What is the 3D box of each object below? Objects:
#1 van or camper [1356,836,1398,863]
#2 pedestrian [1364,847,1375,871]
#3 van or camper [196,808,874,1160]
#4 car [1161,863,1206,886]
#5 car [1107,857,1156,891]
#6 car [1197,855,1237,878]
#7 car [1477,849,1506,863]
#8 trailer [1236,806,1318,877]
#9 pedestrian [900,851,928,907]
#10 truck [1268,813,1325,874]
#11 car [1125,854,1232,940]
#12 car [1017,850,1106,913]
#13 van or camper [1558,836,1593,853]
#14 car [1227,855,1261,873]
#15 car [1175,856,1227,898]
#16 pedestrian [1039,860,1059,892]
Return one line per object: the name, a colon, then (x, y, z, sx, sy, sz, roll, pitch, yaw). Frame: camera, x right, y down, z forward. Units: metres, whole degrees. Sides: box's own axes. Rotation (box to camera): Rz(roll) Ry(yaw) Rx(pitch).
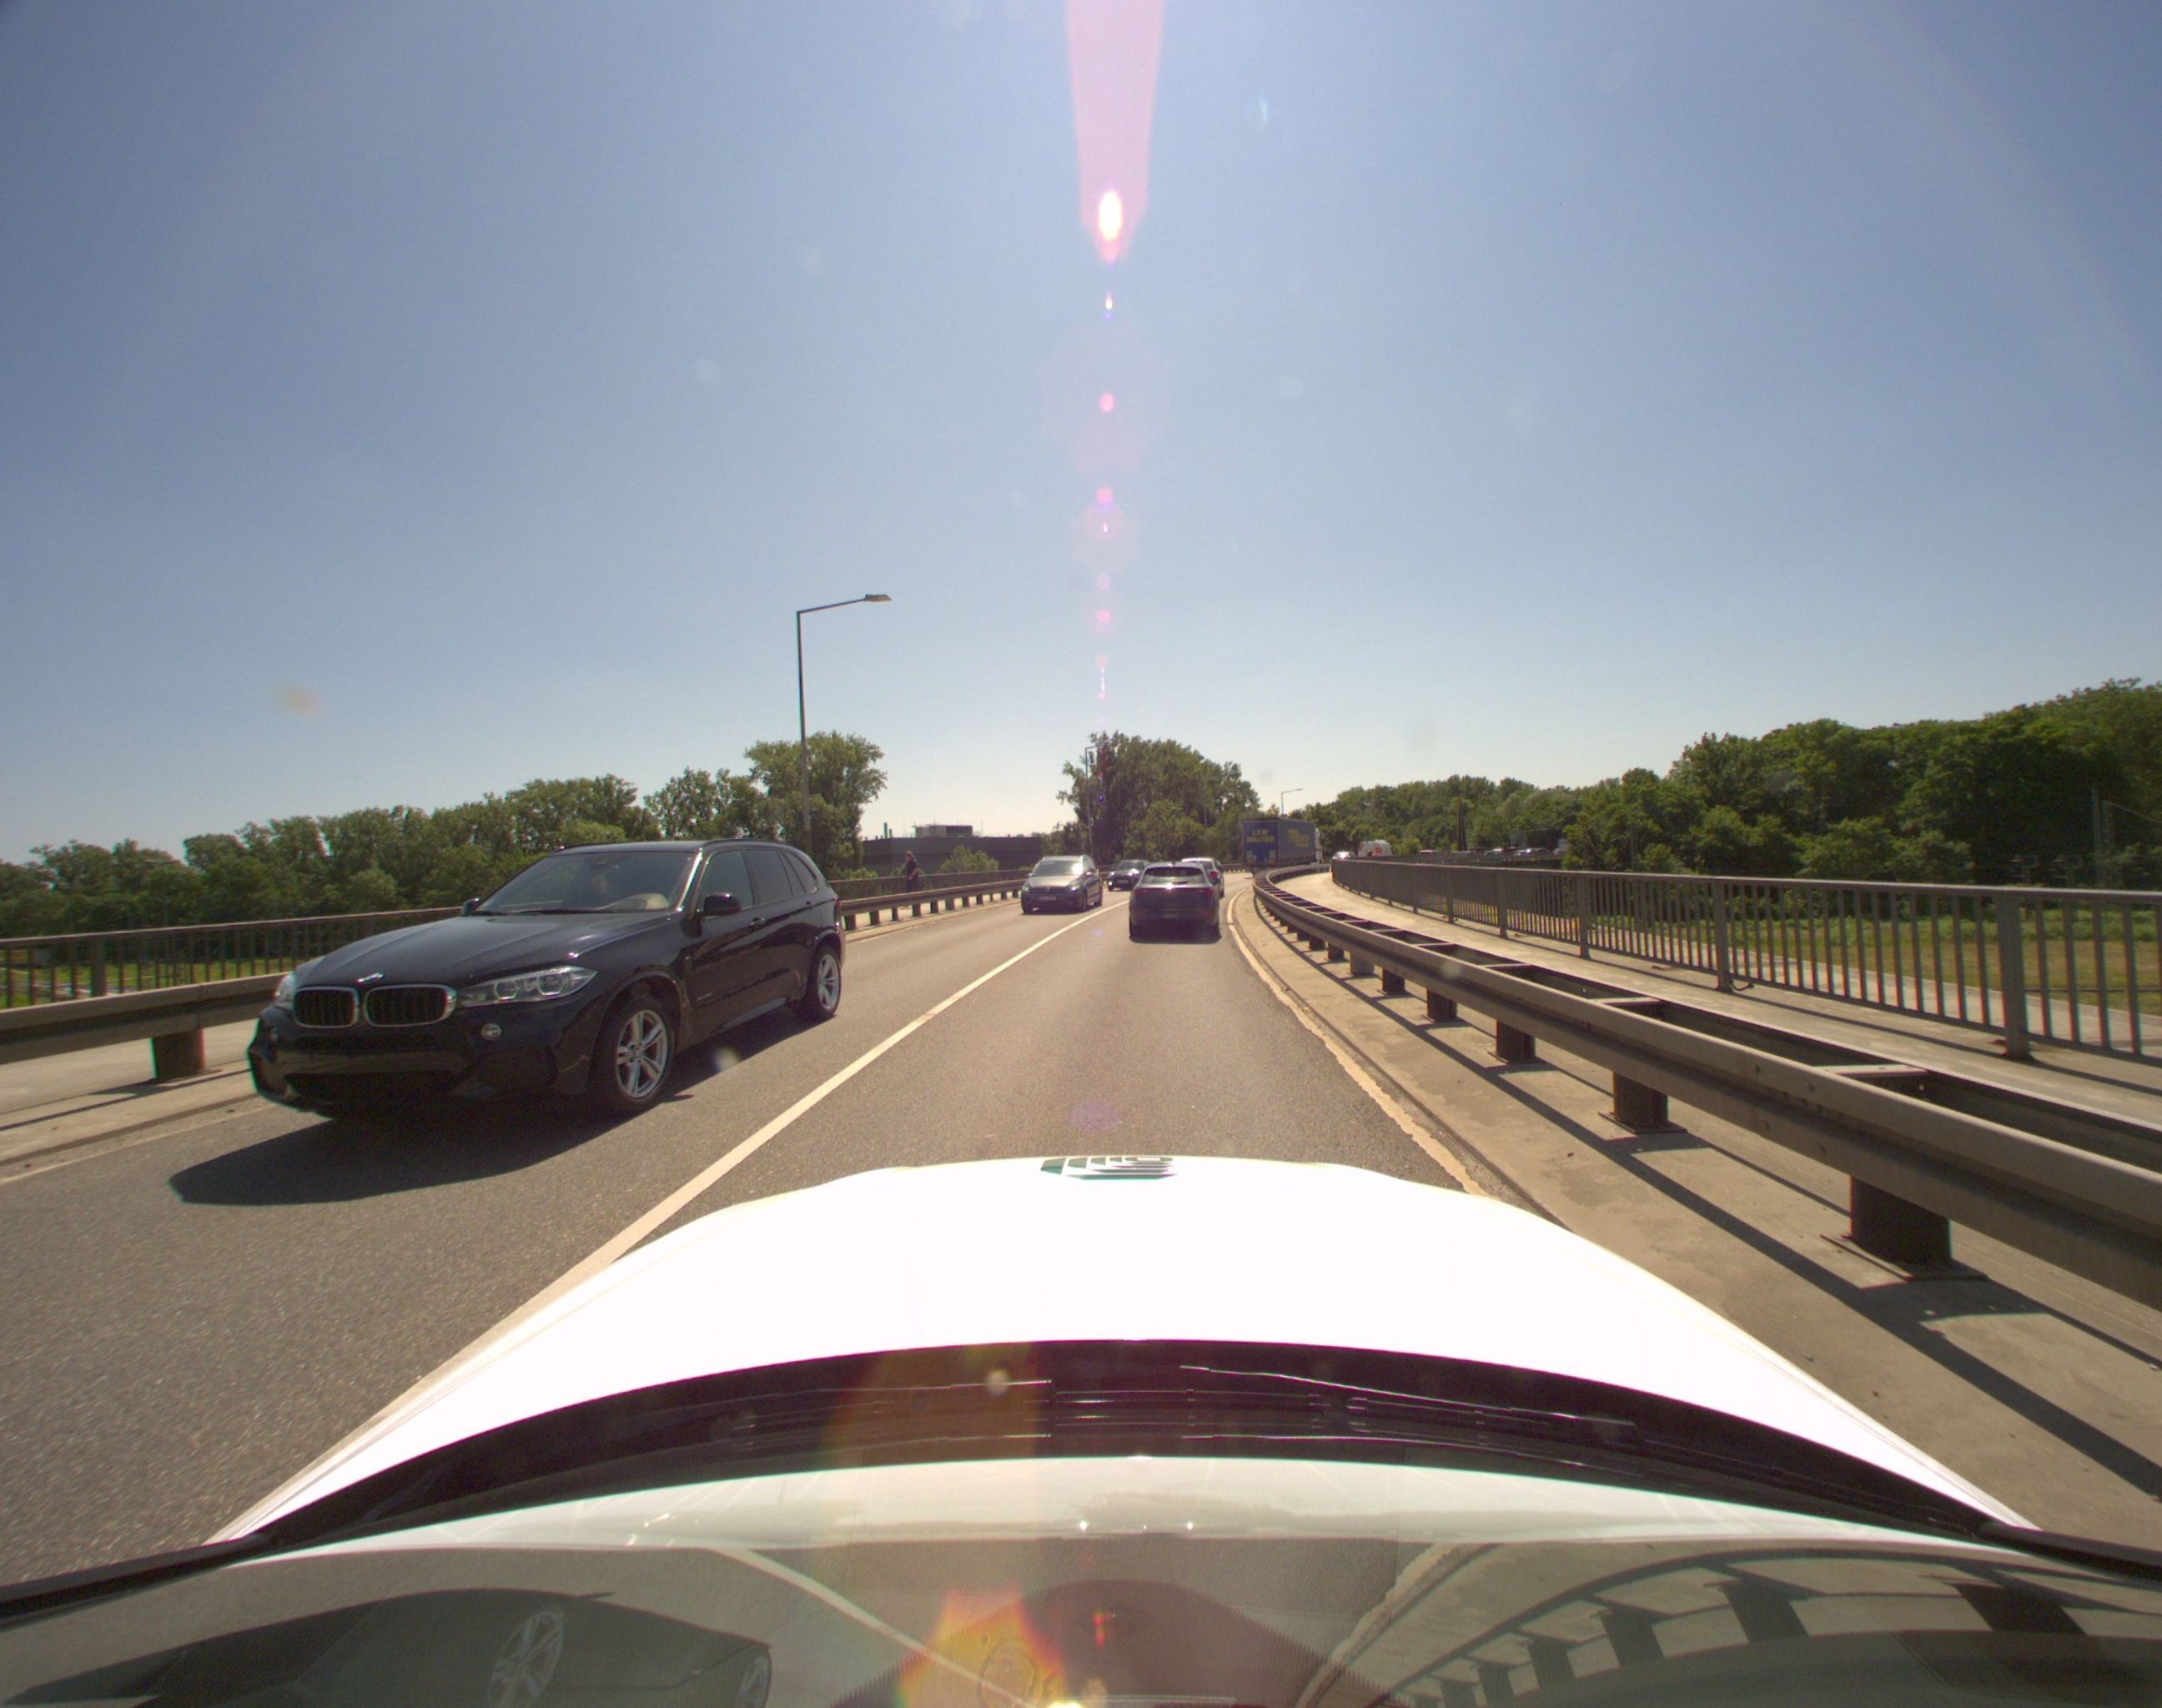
van or camper: (31.075, -0.535, 85.463, 2.182, 2.711, 5.963, -2, 0, 40)
pedestrian: (23.753, 0.396, 67.066, 0.730, 1.967, 0.739, -1, -1, 31)
van or camper: (-3.464, 0.713, 6.574, 1.984, 1.761, 4.704, -2, -1, 5)
car: (7.139, 1.415, 56.178, 1.773, 1.415, 4.600, -3, -1, 24)
car: (2.419, 0.911, 38.245, 1.778, 1.419, 3.784, -3, -1, 10)
car: (9.379, 0.861, 55.886, 1.773, 1.419, 3.794, -3, -1, 23)
car: (55.467, 0.290, 110.014, 4.016, 1.850, 1.874, 0, -1, -35)
trailer: (14.598, -0.784, 59.661, 3.105, 4.614, 13.023, -1, 0, 26)
pedestrian: (-5.433, 0.797, 26.513, 0.634, 1.782, 0.813, -1, -1, 8)
truck: (17.488, -0.765, 65.720, 3.141, 4.585, 7.438, -1, -1, 24)
car: (1.869, 0.784, 16.629, 1.838, 1.499, 3.760, -1, 0, 2)
car: (-0.480, 0.801, 24.247, 1.885, 1.654, 4.267, -2, -1, 8)
van or camper: (78.827, -1.512, 129.707, 4.972, 2.291, 2.470, 3, 2, -29)
car: (14.608, 0.844, 72.793, 1.708, 1.483, 3.890, -3, -1, 30)
car: (4.452, 0.796, 29.808, 1.582, 1.461, 3.557, 0, 0, 13)
pedestrian: (-1.621, 1.102, 41.324, 0.709, 1.561, 0.697, -3, -1, 16)
